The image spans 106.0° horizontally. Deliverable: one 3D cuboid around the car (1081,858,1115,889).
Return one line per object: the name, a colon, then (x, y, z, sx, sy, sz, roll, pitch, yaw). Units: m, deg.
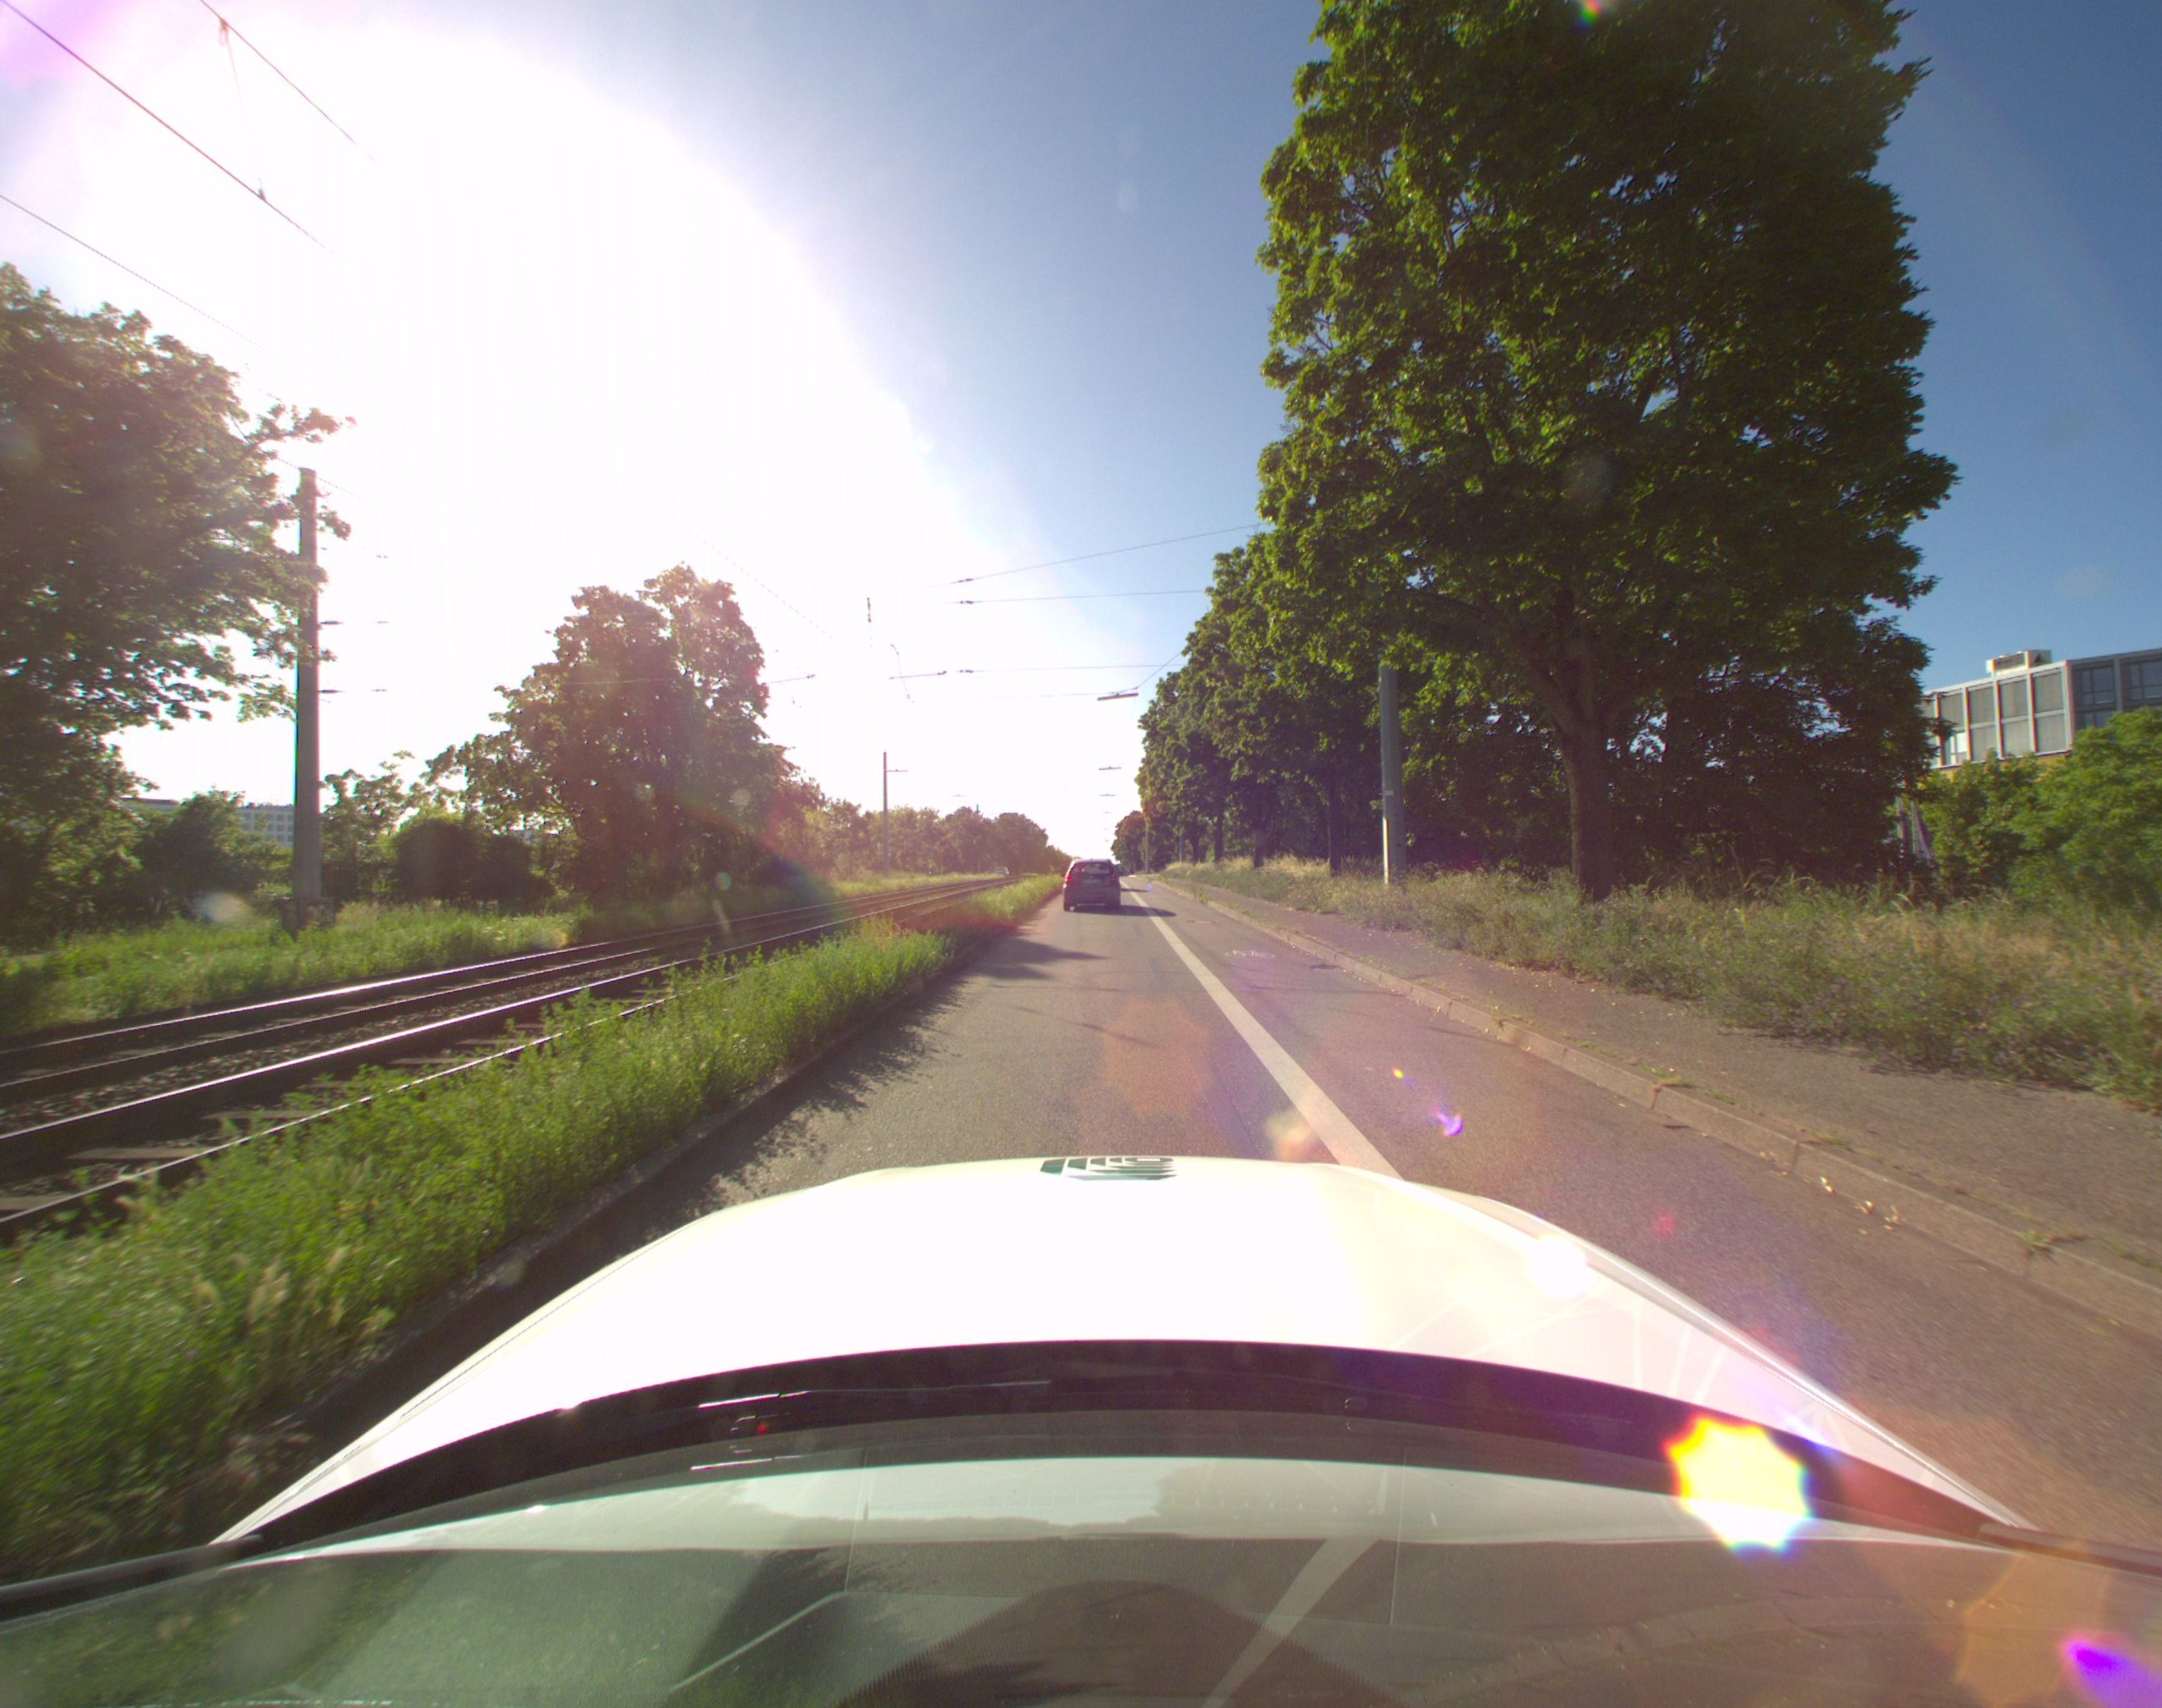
car: (0.905, 0.944, 41.357, 1.648, 1.507, 3.813, 0, 0, 2)

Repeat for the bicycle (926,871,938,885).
bicycle: (-14.017, 2.270, 76.677, 0.587, 1.261, 2.428, 0, 0, 2)

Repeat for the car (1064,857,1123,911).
car: (0.428, 0.861, 24.812, 1.663, 1.507, 3.813, 0, 0, 2)

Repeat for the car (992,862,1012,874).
car: (-10.066, 1.744, 103.990, 1.802, 1.489, 4.409, 0, 0, 3)

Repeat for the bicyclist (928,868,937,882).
bicyclist: (-14.011, 2.008, 76.787, 0.580, 1.310, 0.988, 0, -1, 2)
